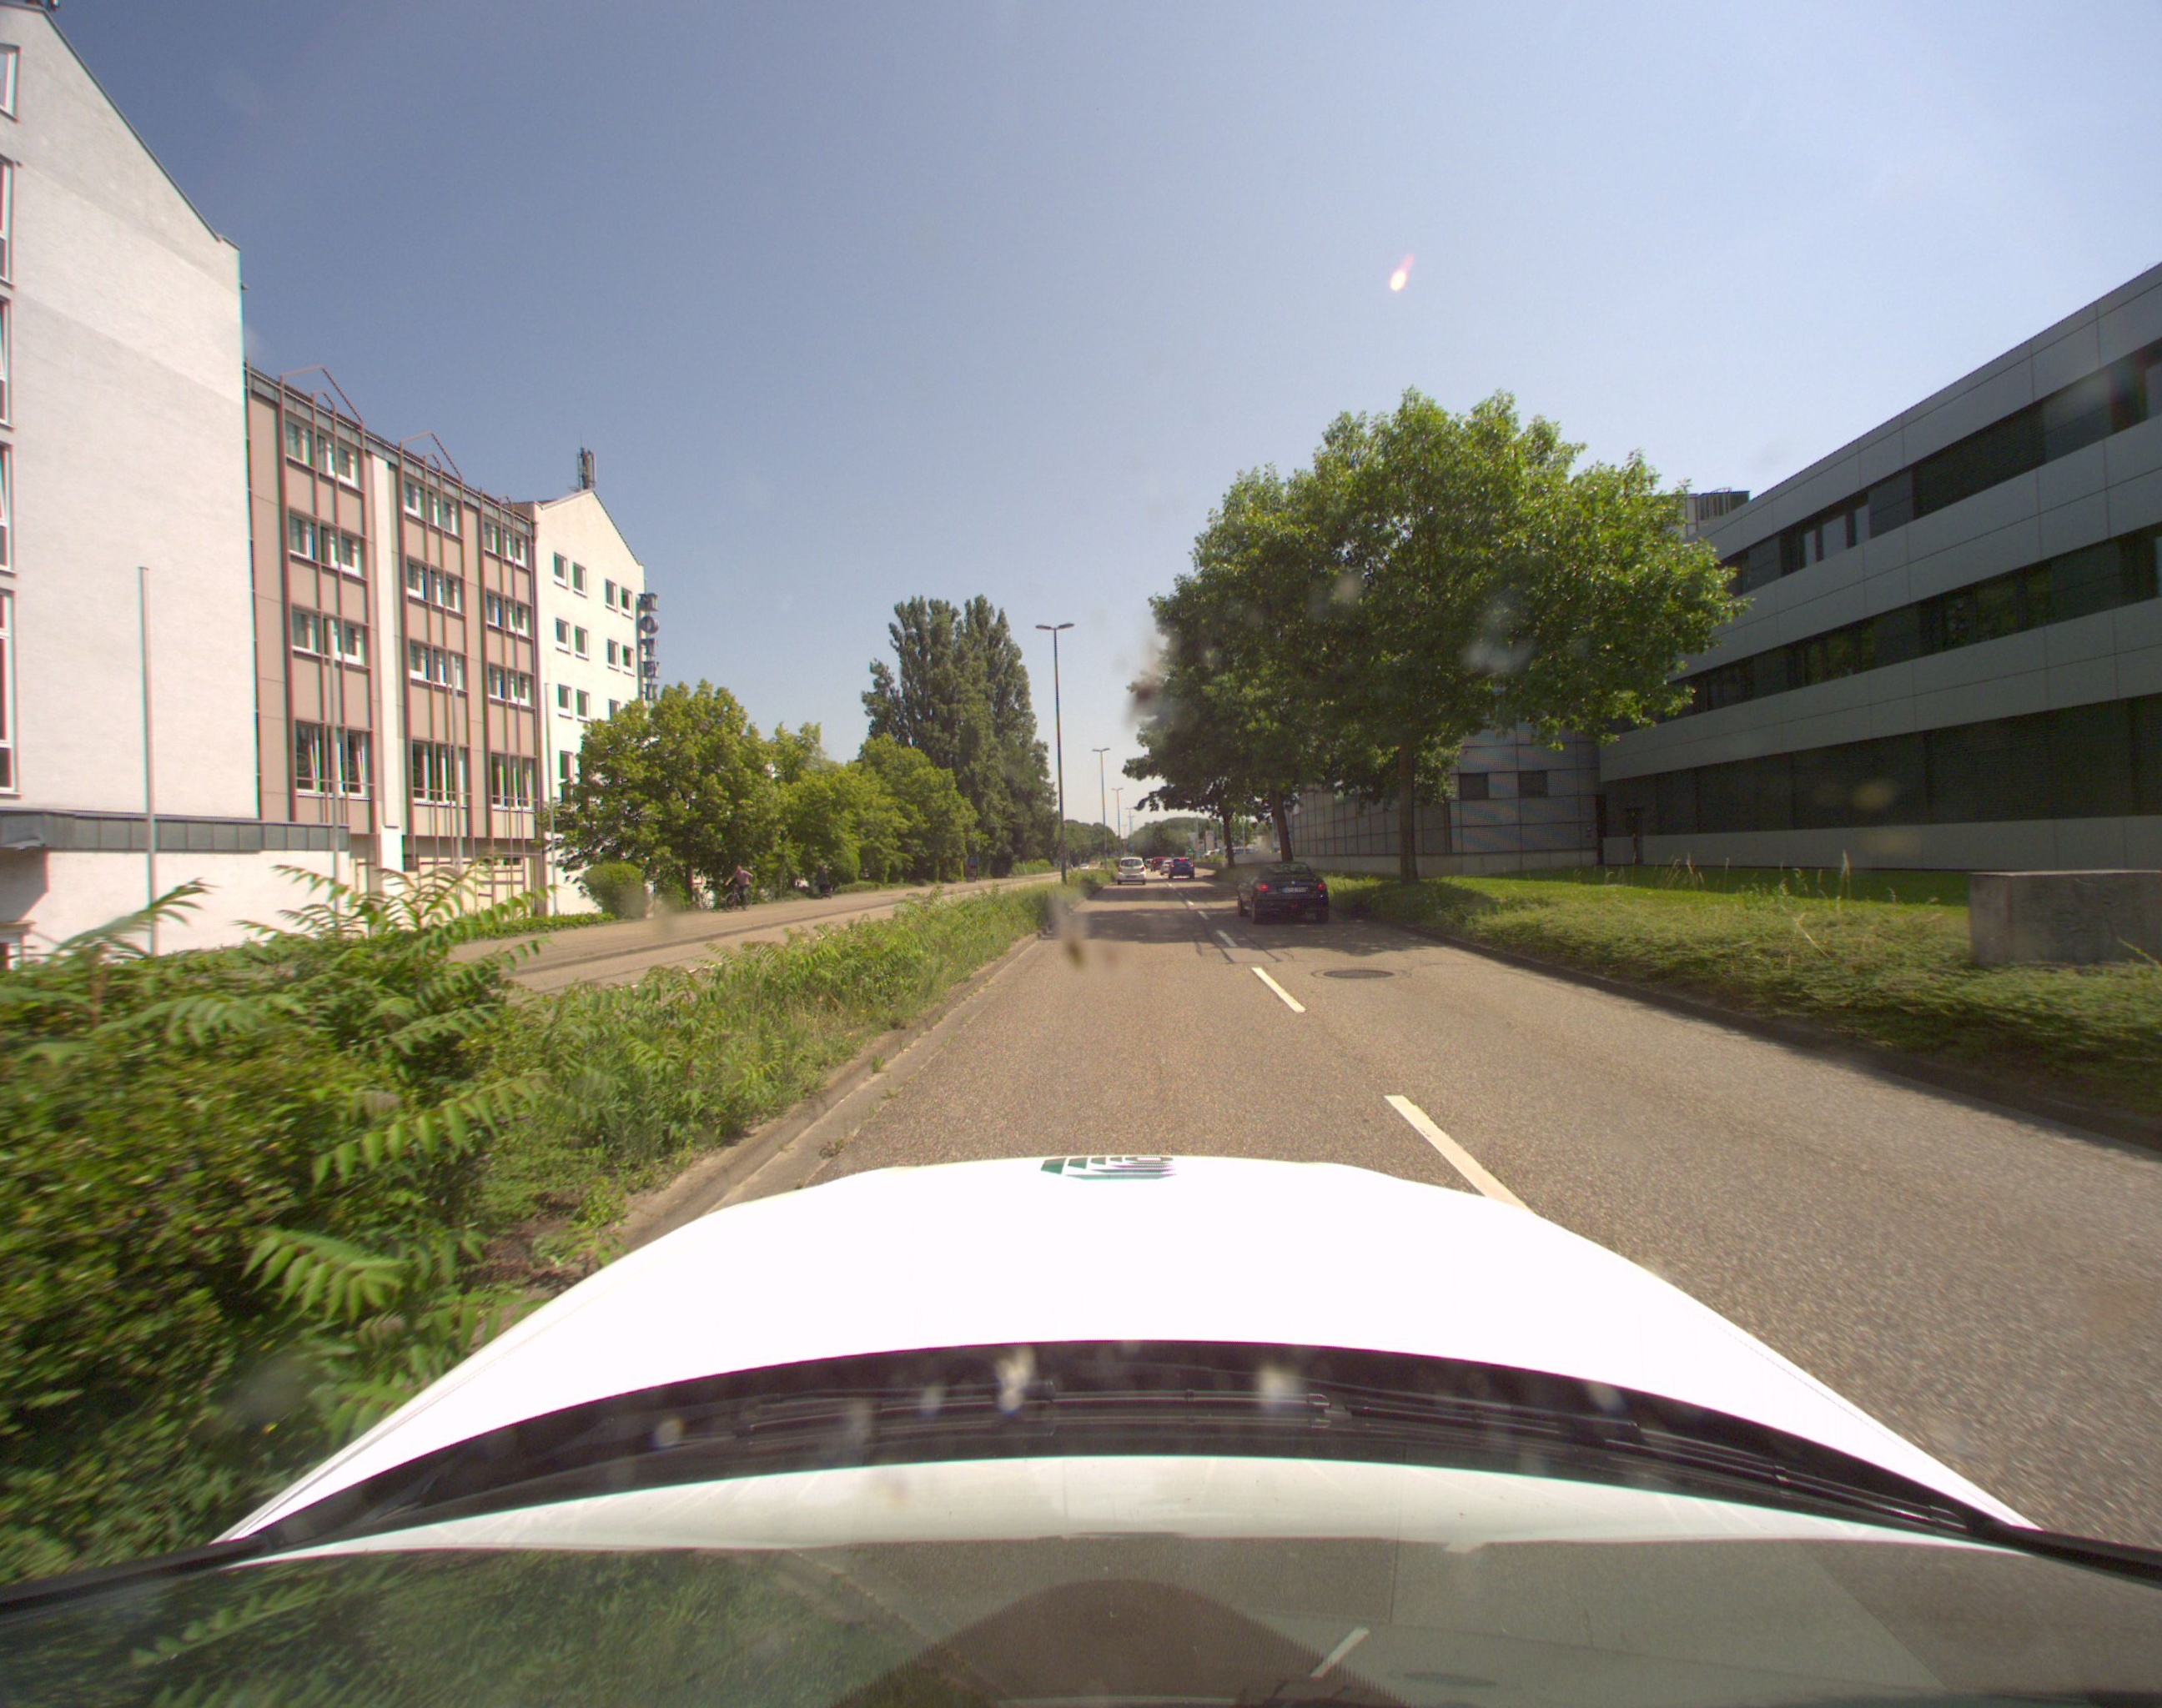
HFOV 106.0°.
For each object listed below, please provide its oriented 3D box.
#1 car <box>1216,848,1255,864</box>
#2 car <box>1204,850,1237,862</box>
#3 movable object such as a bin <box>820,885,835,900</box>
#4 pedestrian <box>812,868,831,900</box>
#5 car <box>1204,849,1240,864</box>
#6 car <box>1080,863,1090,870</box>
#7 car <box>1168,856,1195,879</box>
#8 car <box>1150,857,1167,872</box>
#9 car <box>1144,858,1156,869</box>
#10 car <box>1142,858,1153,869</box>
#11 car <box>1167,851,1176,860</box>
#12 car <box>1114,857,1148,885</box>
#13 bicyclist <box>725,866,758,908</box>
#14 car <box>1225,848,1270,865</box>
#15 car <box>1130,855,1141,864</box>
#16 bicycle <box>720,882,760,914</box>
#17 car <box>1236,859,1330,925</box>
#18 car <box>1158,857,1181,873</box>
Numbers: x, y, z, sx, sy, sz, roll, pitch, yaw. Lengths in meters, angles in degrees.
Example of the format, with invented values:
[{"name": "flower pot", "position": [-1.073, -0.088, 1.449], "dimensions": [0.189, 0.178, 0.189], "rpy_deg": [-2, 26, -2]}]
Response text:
[{"name": "car", "position": [18.201, 0.248, 95.937], "dimensions": [4.209, 1.647, 2.002], "rpy_deg": [-3, -1, 3]}, {"name": "car", "position": [20.159, 0.271, 117.777], "dimensions": [4.515, 1.545, 2.002], "rpy_deg": [-3, -1, 3]}, {"name": "movable object such as a bin", "position": [-12.255, 1.854, 39.384], "dimensions": [0.425, 0.705, 0.654], "rpy_deg": [-3, -1, 12]}, {"name": "pedestrian", "position": [-12.714, 1.463, 39.892], "dimensions": [0.630, 1.545, 0.728], "rpy_deg": [-3, -1, 4]}, {"name": "car", "position": [17.823, 0.342, 102.899], "dimensions": [4.209, 1.647, 2.002], "rpy_deg": [-3, -1, 3]}, {"name": "car", "position": [0.812, 2.527, 168.522], "dimensions": [1.729, 1.413, 4.374], "rpy_deg": [-3, -1, 3]}, {"name": "car", "position": [7.507, 1.027, 60.805], "dimensions": [1.818, 1.580, 3.612], "rpy_deg": [-2, -1, 7]}, {"name": "car", "position": [9.882, 1.367, 104.001], "dimensions": [1.769, 1.740, 4.001], "rpy_deg": [-3, -1, 1]}, {"name": "car", "position": [11.430, 1.552, 134.805], "dimensions": [1.812, 1.662, 4.003], "rpy_deg": [-2, 0, 3]}, {"name": "car", "position": [11.848, 1.678, 144.718], "dimensions": [1.789, 1.690, 4.004], "rpy_deg": [-3, -1, 4]}, {"name": "car", "position": [21.984, 0.356, 197.686], "dimensions": [1.764, 2.013, 3.991], "rpy_deg": [-3, 0, 1]}, {"name": "car", "position": [2.914, 0.945, 46.803], "dimensions": [1.739, 1.520, 3.751], "rpy_deg": [-1, 0, 6]}, {"name": "bicyclist", "position": [-12.592, 1.216, 30.199], "dimensions": [0.715, 1.516, 1.027], "rpy_deg": [-3, -1, 0]}, {"name": "car", "position": [17.798, 0.246, 87.196], "dimensions": [4.480, 1.583, 2.002], "rpy_deg": [-3, -1, 3]}, {"name": "car", "position": [10.622, 1.134, 158.383], "dimensions": [1.813, 1.662, 4.000], "rpy_deg": [-2, 0, 0]}, {"name": "bicycle", "position": [-12.611, 1.595, 30.163], "dimensions": [0.549, 1.073, 2.063], "rpy_deg": [-2, -1, 1]}, {"name": "car", "position": [4.667, 0.831, 19.237], "dimensions": [1.619, 1.364, 3.610], "rpy_deg": [-1, 0, 5]}, {"name": "car", "position": [8.612, 1.060, 79.660], "dimensions": [1.985, 1.442, 4.004], "rpy_deg": [-3, -1, 4]}]
